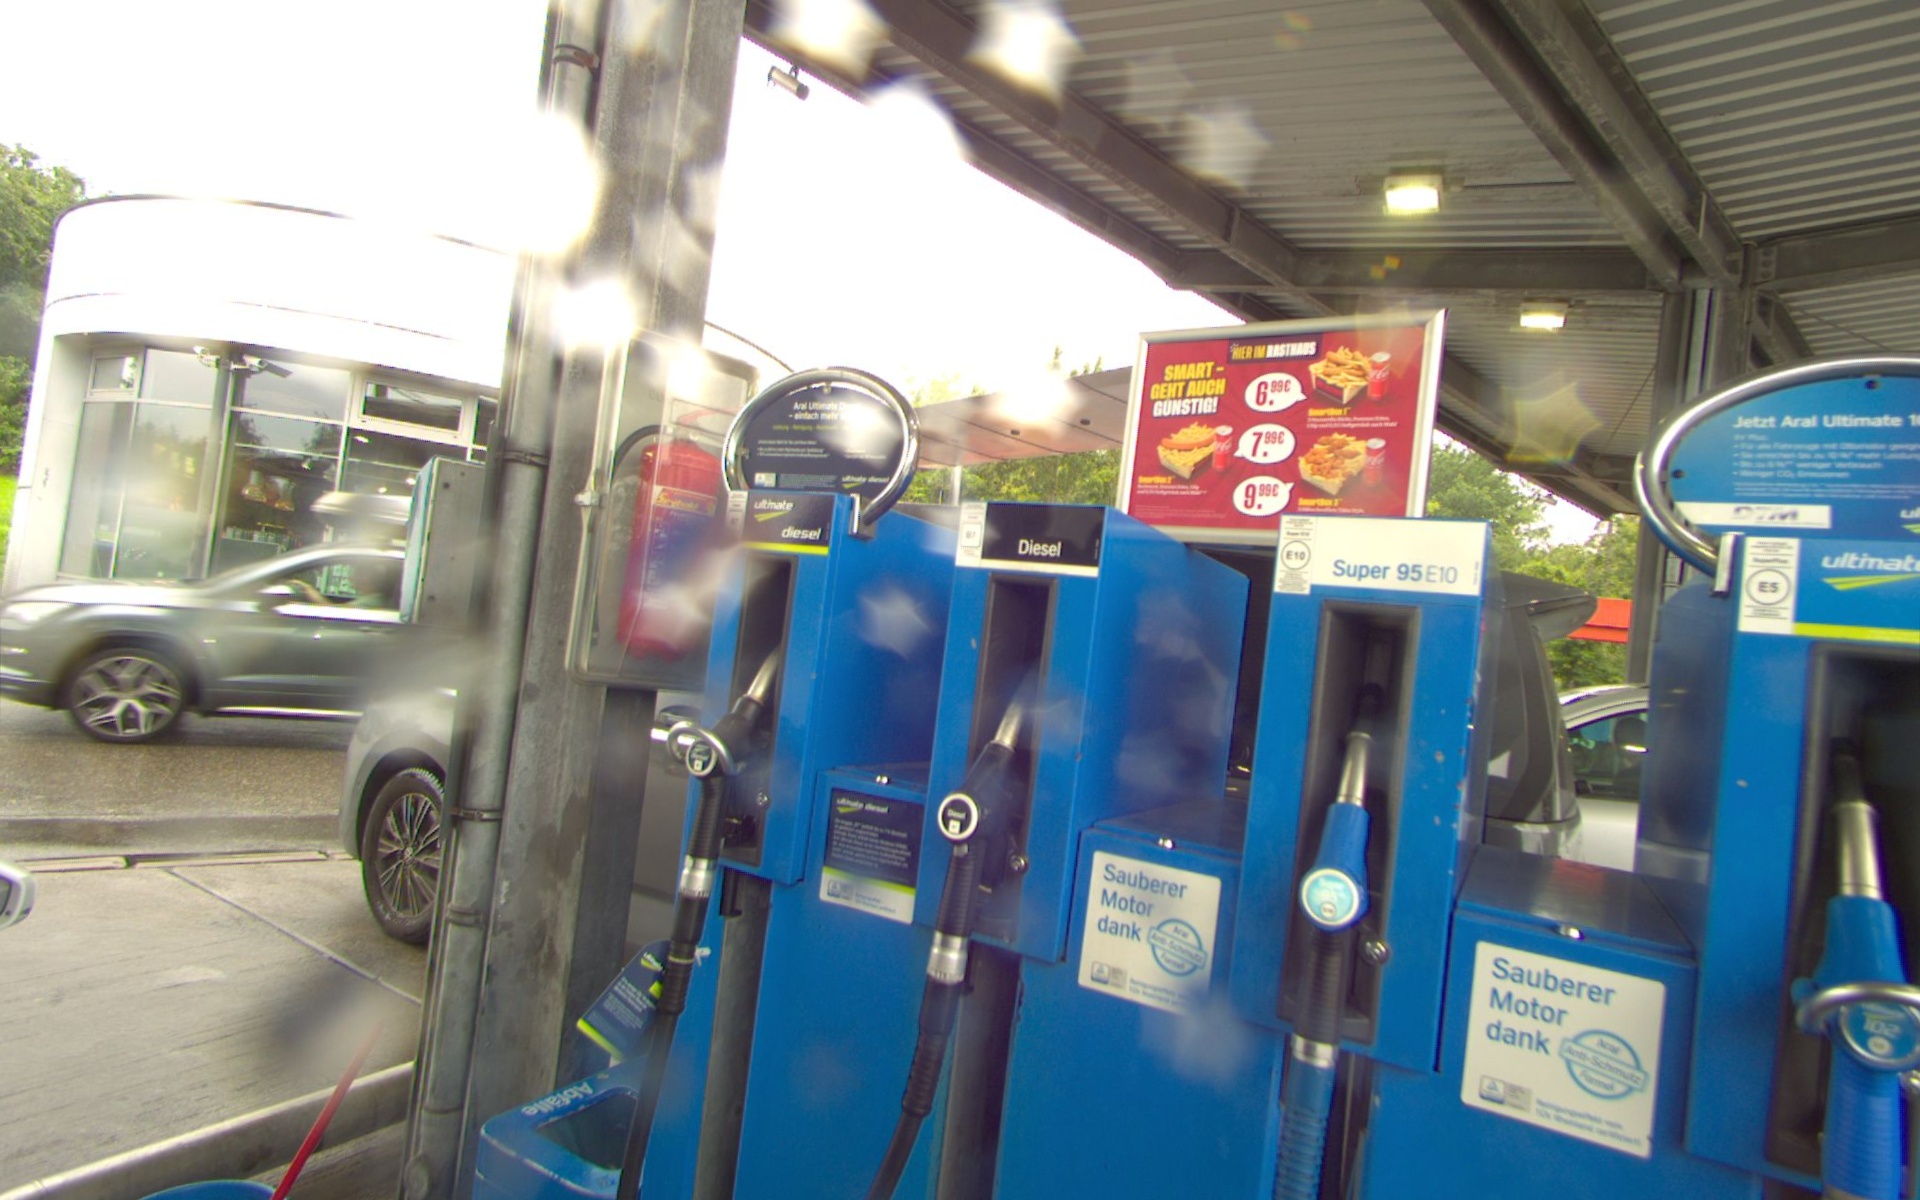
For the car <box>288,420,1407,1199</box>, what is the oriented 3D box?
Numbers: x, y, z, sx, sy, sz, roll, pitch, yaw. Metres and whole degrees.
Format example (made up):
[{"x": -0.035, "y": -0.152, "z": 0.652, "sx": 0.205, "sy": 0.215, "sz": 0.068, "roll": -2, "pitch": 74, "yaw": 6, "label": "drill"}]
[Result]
[{"x": -0.588, "y": 0.504, "z": 3.989, "sx": 3.934, "sy": 1.971, "sz": 1.819, "roll": 7, "pitch": -1, "yaw": 32, "label": "car"}]

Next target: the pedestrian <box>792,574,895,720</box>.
[{"x": -1.640, "y": 0.664, "z": 14.179, "sx": 0.991, "sy": 1.917, "sz": 0.716, "roll": 7, "pitch": 0, "yaw": 34, "label": "pedestrian"}]

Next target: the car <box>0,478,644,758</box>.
[{"x": -5.061, "y": 0.235, "z": 8.126, "sx": 4.292, "sy": 1.606, "sz": 1.871, "roll": 9, "pitch": -2, "yaw": -37, "label": "car"}]
